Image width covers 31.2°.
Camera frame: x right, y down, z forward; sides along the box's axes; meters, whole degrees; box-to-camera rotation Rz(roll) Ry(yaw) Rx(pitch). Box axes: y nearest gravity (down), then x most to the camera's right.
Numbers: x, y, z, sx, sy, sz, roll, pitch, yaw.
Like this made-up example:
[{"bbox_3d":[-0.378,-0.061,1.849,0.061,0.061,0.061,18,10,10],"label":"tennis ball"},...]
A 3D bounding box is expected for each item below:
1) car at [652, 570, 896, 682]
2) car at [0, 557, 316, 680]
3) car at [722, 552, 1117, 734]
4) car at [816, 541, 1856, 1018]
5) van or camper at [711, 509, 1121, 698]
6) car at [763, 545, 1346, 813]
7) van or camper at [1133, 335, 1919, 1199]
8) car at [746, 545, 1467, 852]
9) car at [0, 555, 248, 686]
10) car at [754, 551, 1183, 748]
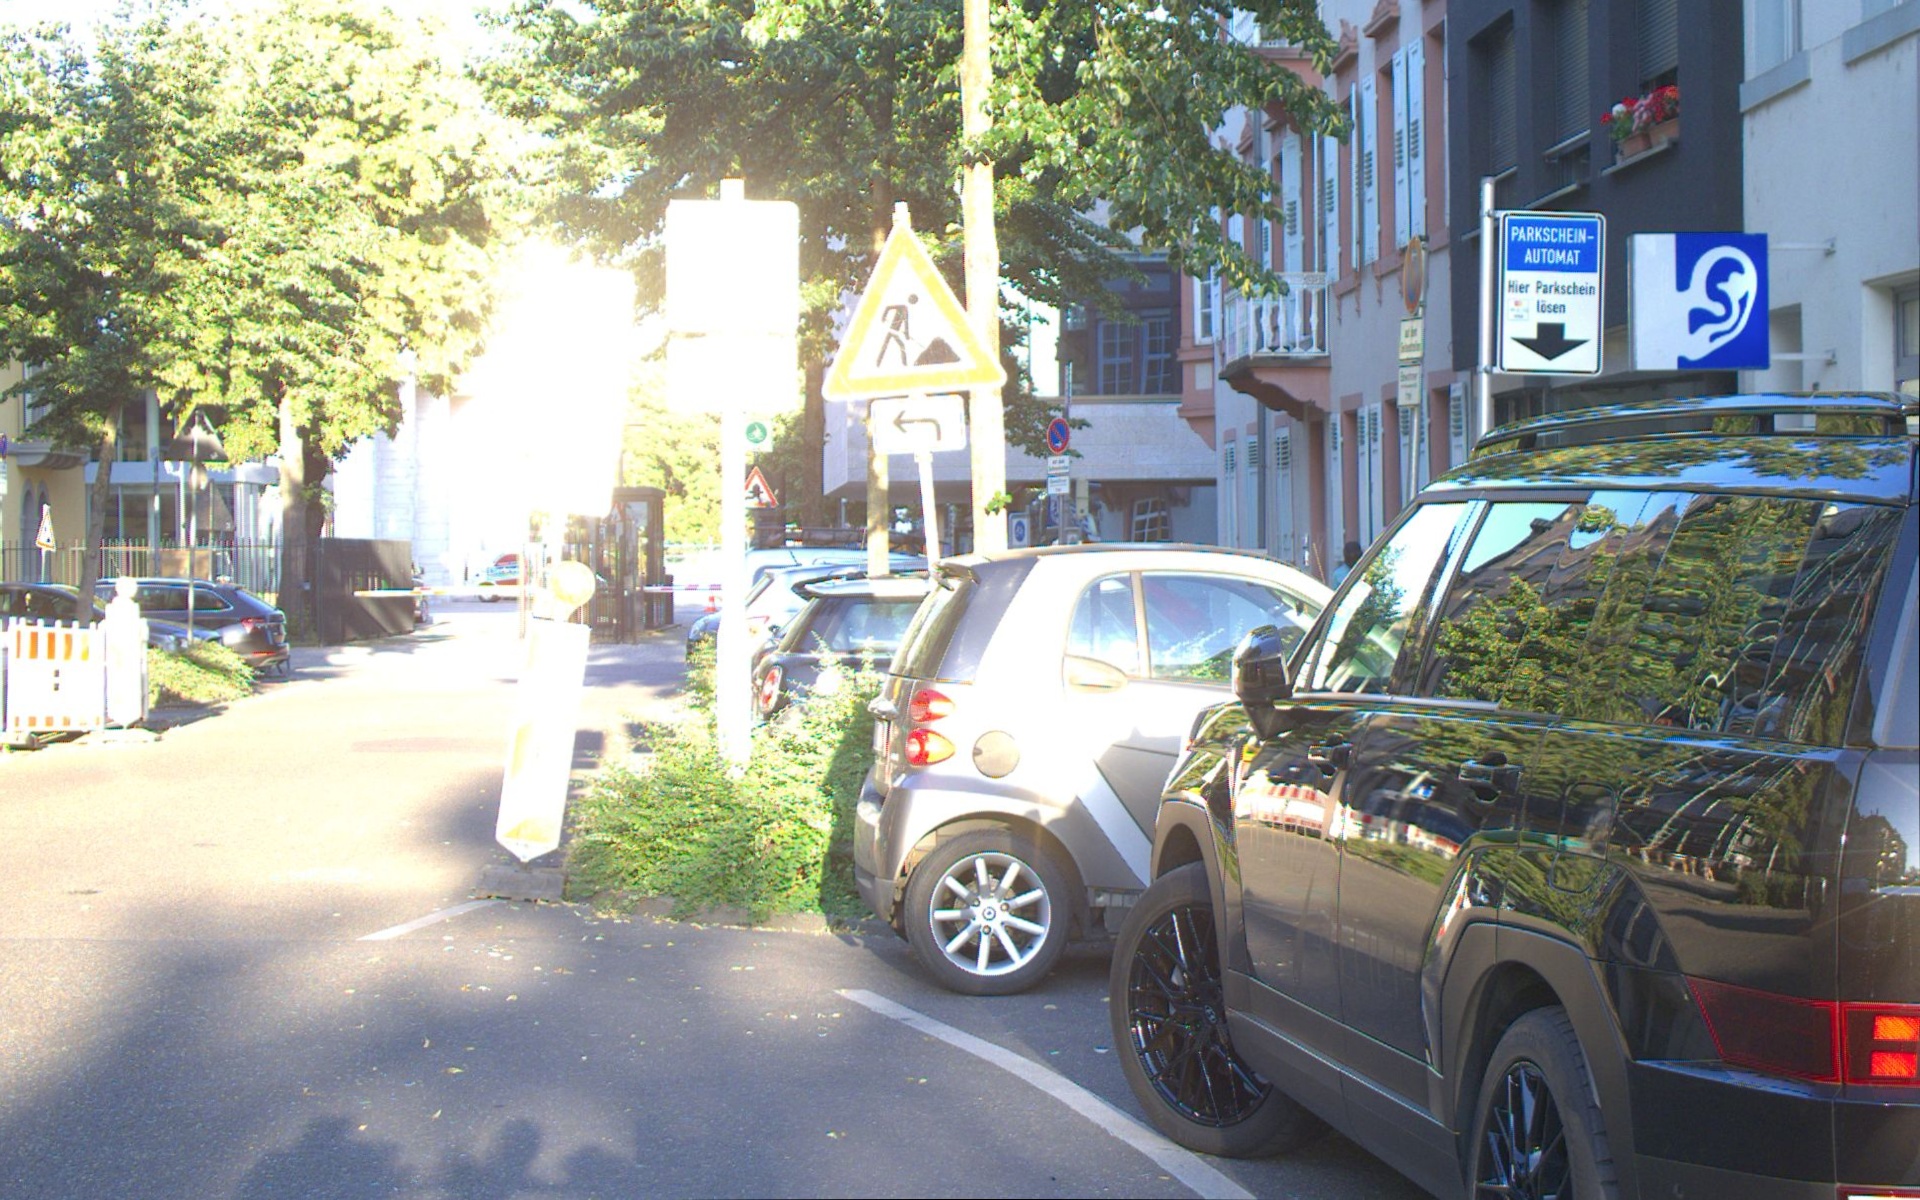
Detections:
[{"bbox_3d":[-2.717,0.365,50.909,1.855,1.563,3.691,1,1,31],"label":"car"},{"bbox_3d":[-11.177,0.239,48.048,3.987,1.678,1.891,0,1,0],"label":"car"},{"bbox_3d":[-0.440,0.401,33.326,3.684,1.664,1.859,1,1,-4],"label":"car"},{"bbox_3d":[1.310,0.584,12.535,3.469,1.570,1.508,-1,1,-11],"label":"car"},{"bbox_3d":[-0.533,0.031,38.436,4.439,1.999,1.859,1,0,-4],"label":"van or camper"},{"bbox_3d":[0.562,0.502,22.938,3.684,1.664,1.859,1,1,-4],"label":"car"},{"bbox_3d":[1.693,0.527,6.809,1.889,1.801,4.462,0,1,-8],"label":"van or camper"},{"bbox_3d":[0.776,0.548,20.134,3.994,1.664,1.859,1,1,-4],"label":"car"},{"bbox_3d":[-11.584,0.254,45.352,3.987,1.678,1.891,0,1,0],"label":"car"},{"bbox_3d":[0.025,0.426,30.867,3.684,1.664,1.859,1,1,-4],"label":"car"}]
